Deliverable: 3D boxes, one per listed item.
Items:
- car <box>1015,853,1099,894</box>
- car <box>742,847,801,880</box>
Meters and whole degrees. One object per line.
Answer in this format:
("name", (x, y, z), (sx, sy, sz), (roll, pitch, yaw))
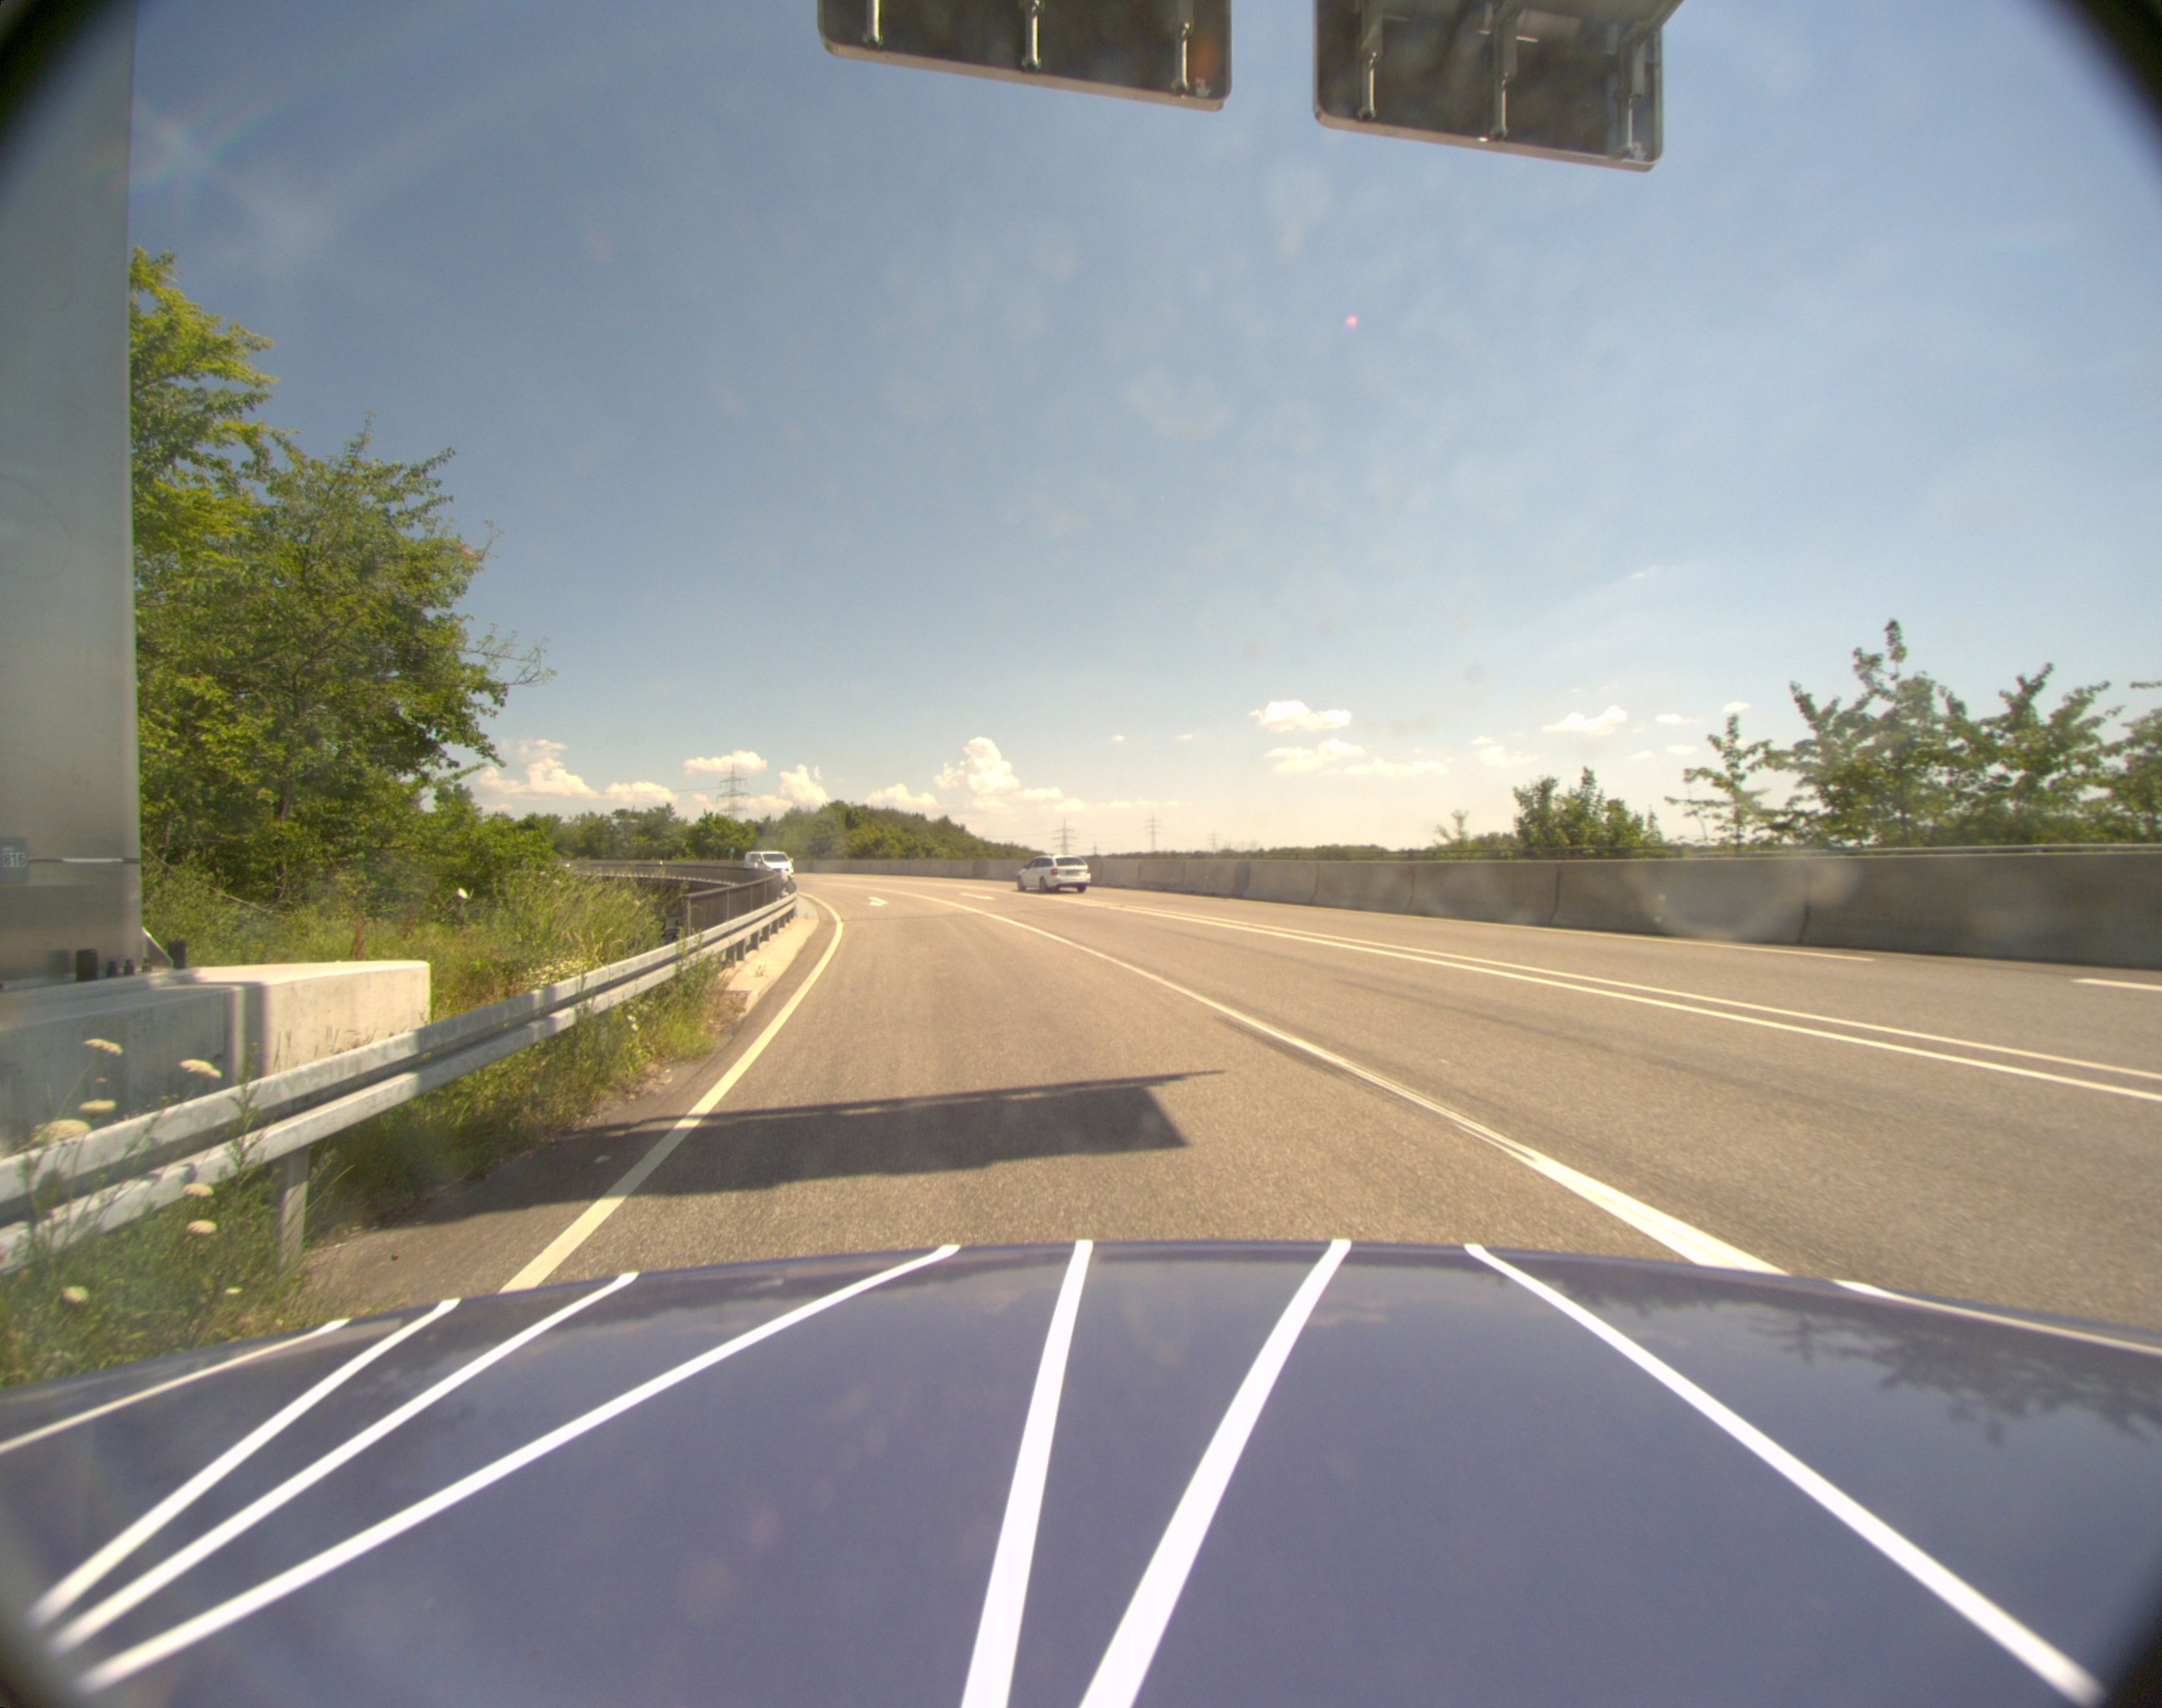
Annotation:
("car", (-1.066, 0.731, 30.428), (1.795, 1.486, 4.542), (-1, 0, -24))
("car", (-20.996, 0.633, 51.396), (2.036, 2.072, 5.856), (-1, 0, -39))
